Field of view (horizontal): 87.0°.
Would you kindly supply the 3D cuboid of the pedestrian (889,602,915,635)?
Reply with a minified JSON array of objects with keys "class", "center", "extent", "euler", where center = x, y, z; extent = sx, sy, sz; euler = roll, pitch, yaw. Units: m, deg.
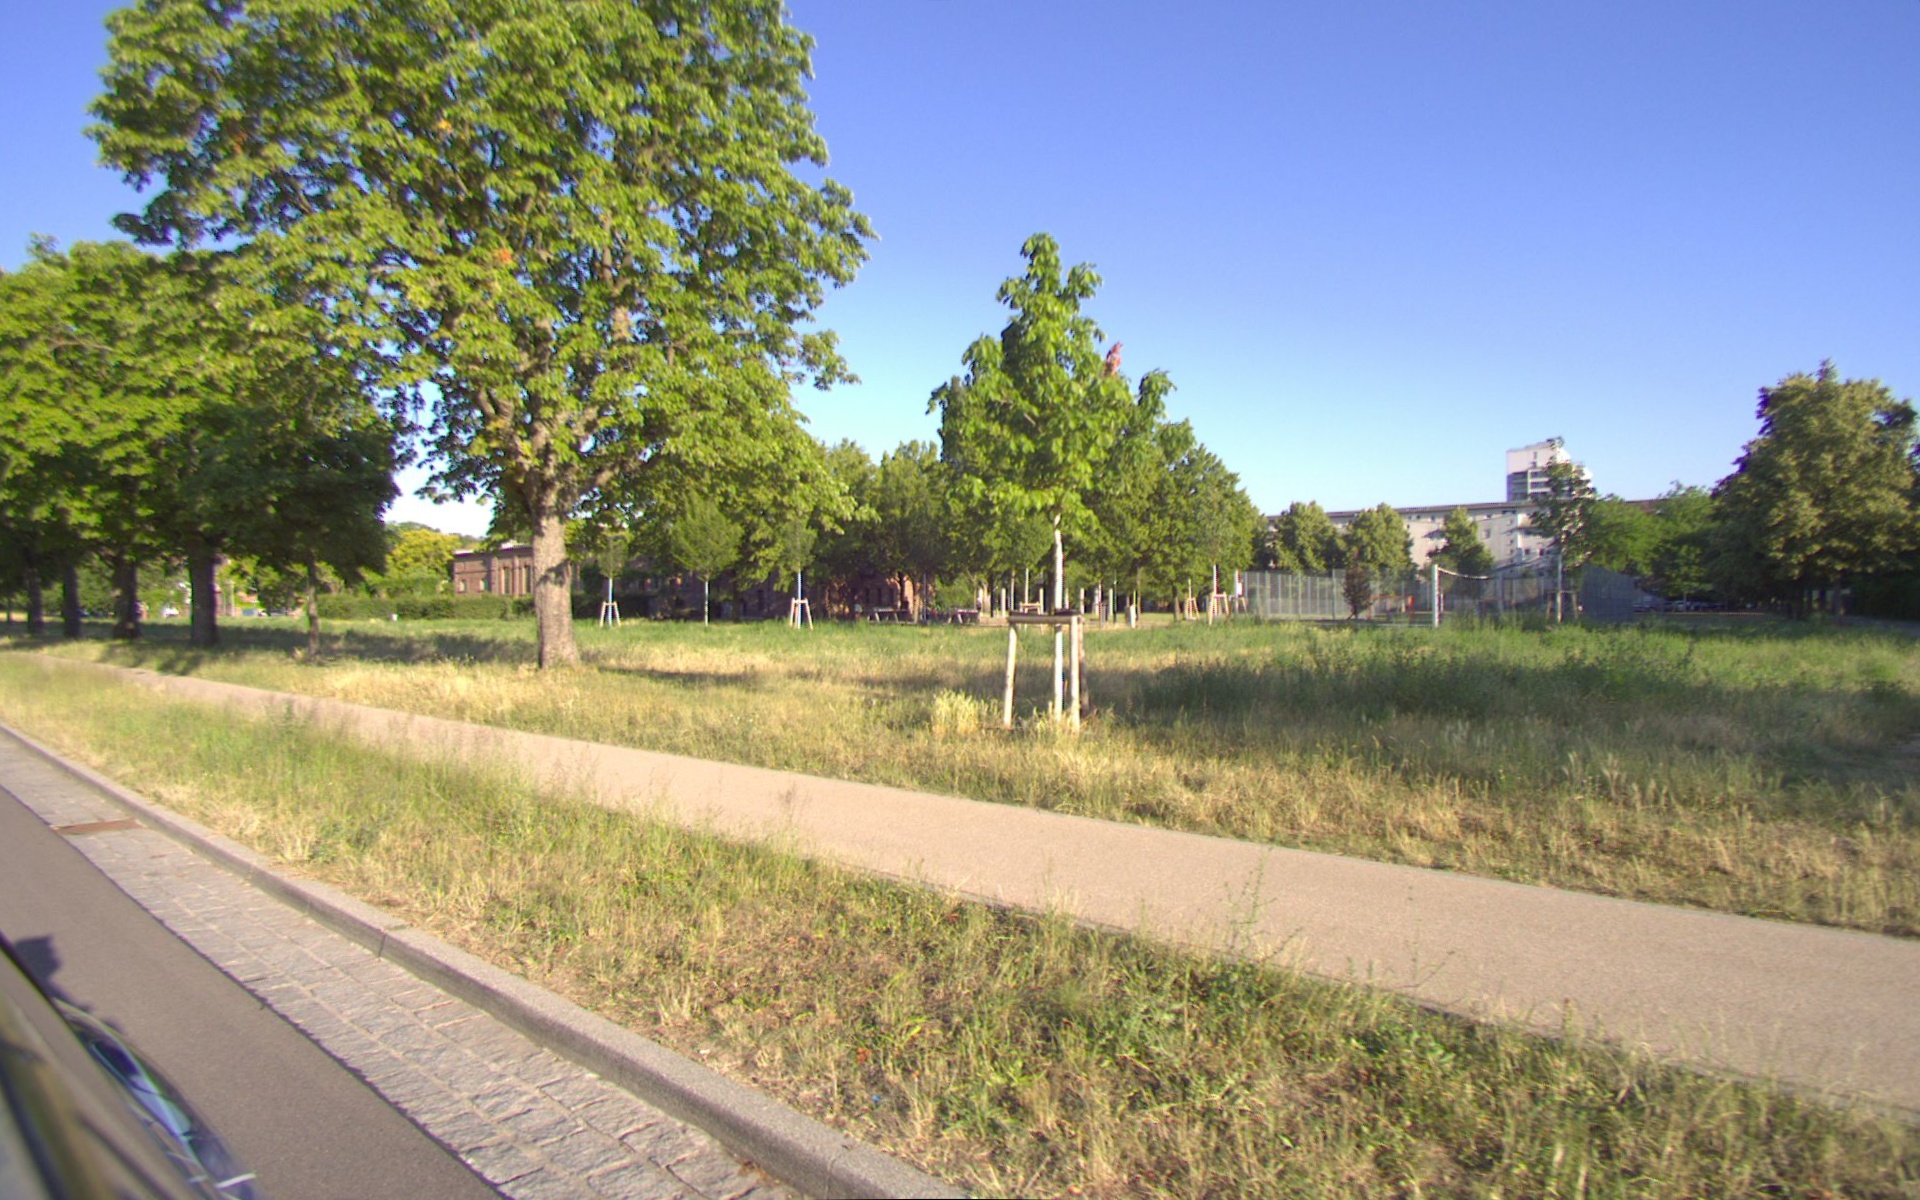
[{"class":"pedestrian","center":[-3.385,1.094,58.727],"extent":[1.099,1.877,0.984],"euler":[-1,-1,-43]}]

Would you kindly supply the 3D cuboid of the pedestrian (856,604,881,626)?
[{"class":"pedestrian","center":[-5.508,0.895,60.943],"extent":[0.980,1.305,1.104],"euler":[-1,0,32]}]

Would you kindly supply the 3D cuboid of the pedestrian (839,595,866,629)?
[{"class":"pedestrian","center":[-5.967,0.657,56.034],"extent":[1.099,1.877,0.984],"euler":[0,-1,-43]}]
